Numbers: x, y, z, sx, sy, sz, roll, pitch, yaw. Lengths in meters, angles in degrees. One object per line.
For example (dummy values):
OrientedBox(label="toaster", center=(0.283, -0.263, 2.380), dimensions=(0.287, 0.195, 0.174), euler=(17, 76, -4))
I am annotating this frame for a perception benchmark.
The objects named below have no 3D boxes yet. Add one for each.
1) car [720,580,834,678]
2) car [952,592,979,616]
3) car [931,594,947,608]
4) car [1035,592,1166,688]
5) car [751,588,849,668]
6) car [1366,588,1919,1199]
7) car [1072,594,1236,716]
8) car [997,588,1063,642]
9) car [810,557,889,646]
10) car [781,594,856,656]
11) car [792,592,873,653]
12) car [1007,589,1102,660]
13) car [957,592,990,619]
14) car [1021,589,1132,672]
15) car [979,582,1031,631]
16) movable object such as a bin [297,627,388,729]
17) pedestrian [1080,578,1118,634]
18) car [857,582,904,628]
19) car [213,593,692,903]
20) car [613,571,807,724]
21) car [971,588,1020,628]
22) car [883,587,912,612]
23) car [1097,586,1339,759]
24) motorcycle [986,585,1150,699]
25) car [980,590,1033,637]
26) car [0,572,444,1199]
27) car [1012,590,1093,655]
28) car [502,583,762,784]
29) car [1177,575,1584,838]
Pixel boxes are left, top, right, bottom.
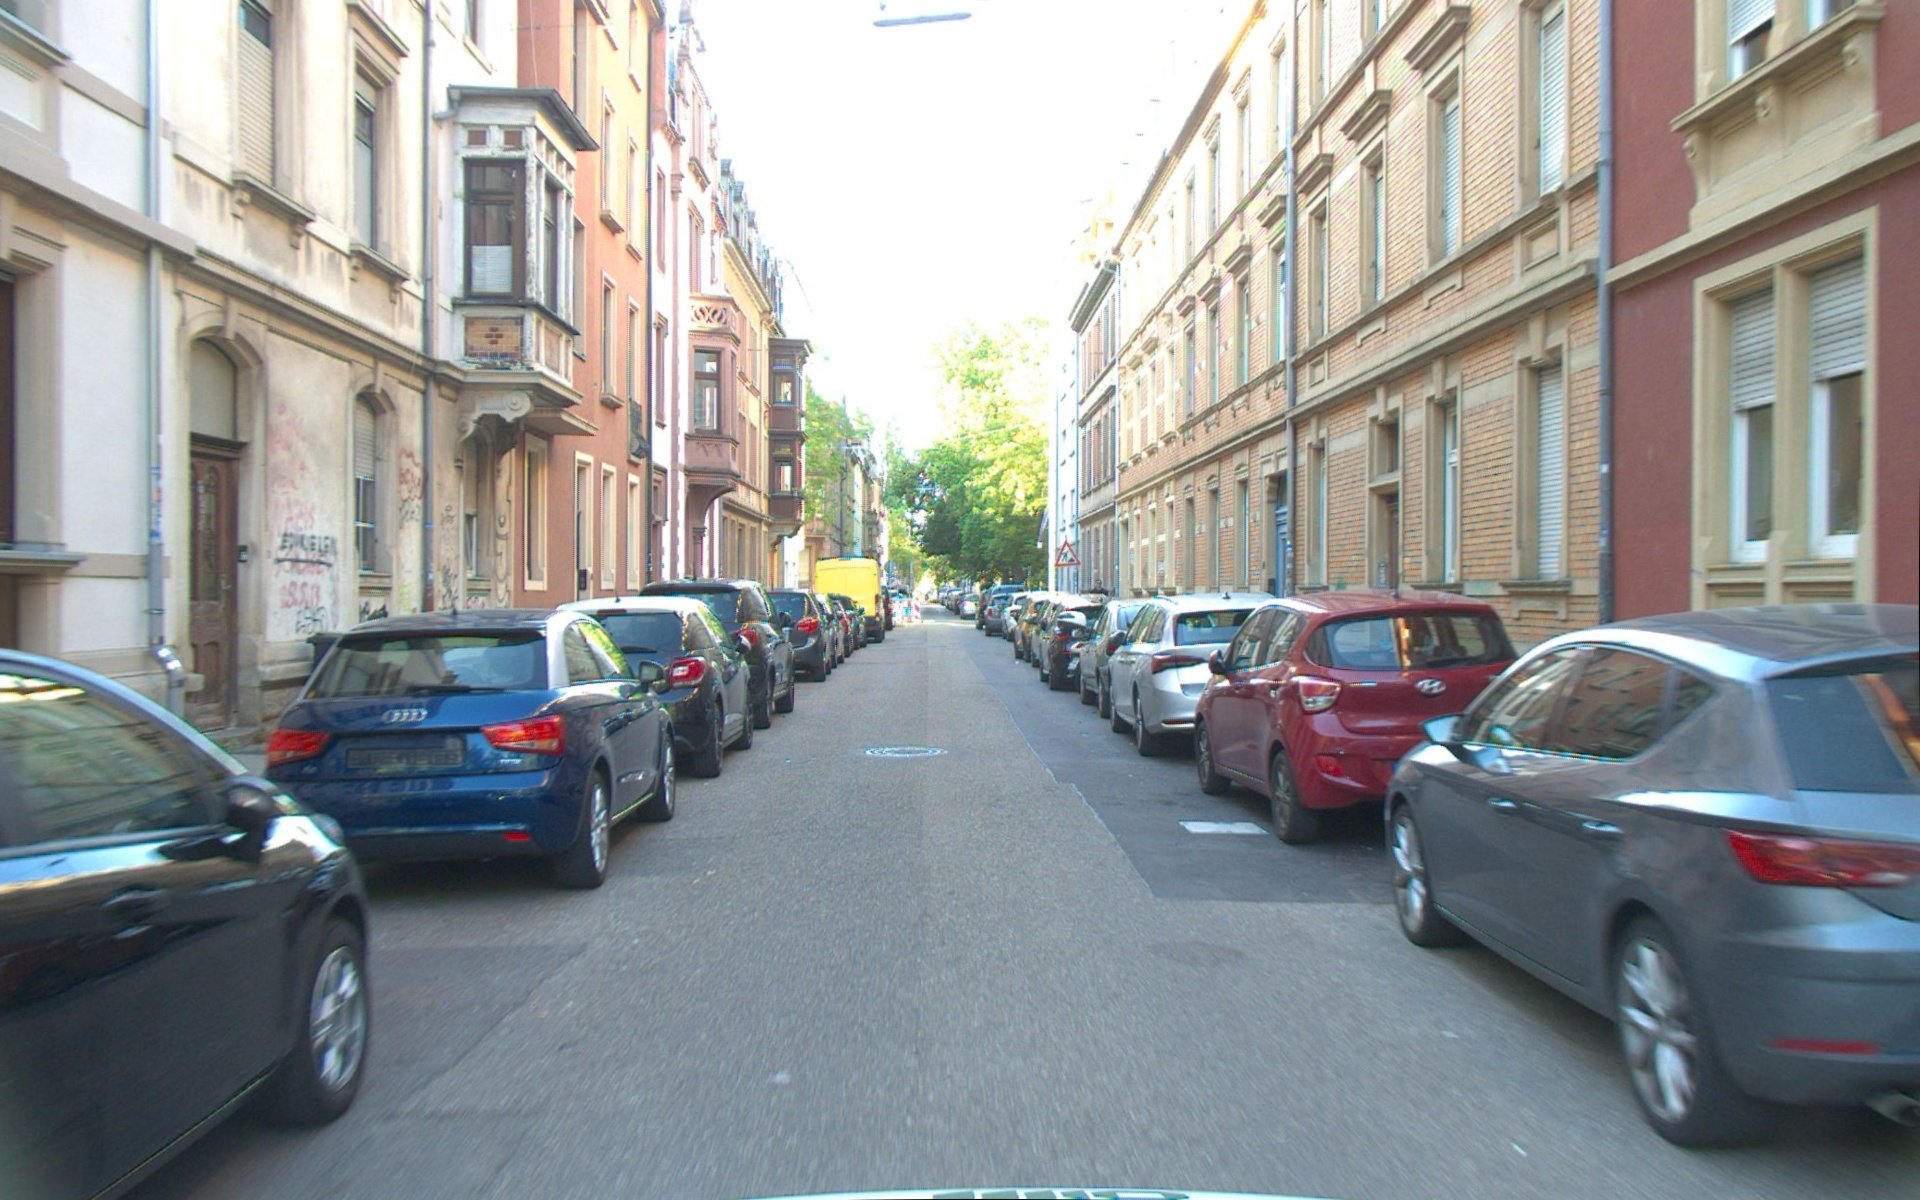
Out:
OrientedBox(label="car", center=(-3.192, 0.472, 29.556), dimensions=(1.745, 1.634, 4.067), euler=(0, 0, -3))
OrientedBox(label="car", center=(0.371, 0.300, 120.587), dimensions=(1.856, 1.654, 3.998), euler=(0, 0, -2))
OrientedBox(label="car", center=(-2.702, 0.143, 208.501), dimensions=(1.953, 1.758, 3.999), euler=(0, 0, -2))
OrientedBox(label="car", center=(2.221, 0.594, 27.215), dimensions=(1.741, 1.421, 4.317), euler=(0, 1, -1))
OrientedBox(label="car", center=(-3.282, 0.536, 34.467), dimensions=(1.660, 1.500, 3.918), euler=(-3, 0, -1))
OrientedBox(label="car", center=(2.791, 0.731, 5.910), dimensions=(1.642, 1.529, 4.068), euler=(0, 1, -1))
OrientedBox(label="car", center=(2.451, 0.649, 21.753), dimensions=(1.657, 1.430, 3.992), euler=(0, 0, -1))
OrientedBox(label="car", center=(2.230, 0.446, 53.915), dimensions=(1.719, 1.544, 4.441), euler=(-4, 1, -2))
OrientedBox(label="car", center=(-3.392, 0.036, 51.668), dimensions=(2.131, 2.551, 5.876), euler=(-2, 0, -2))
OrientedBox(label="car", center=(-3.417, 0.577, 40.449), dimensions=(1.585, 1.349, 3.611), euler=(-3, 0, -2))
OrientedBox(label="car", center=(-3.425, 0.575, 44.993), dimensions=(1.683, 1.437, 3.898), euler=(-5, 0, 2))
OrientedBox(label="car", center=(2.128, 0.535, 38.298), dimensions=(1.719, 1.471, 4.067), euler=(-3, 0, -3))
OrientedBox(label="car", center=(0.797, 0.298, 99.312), dimensions=(1.690, 1.549, 3.997), euler=(0, 0, -4))
OrientedBox(label="car", center=(2.290, 0.569, 33.557), dimensions=(1.691, 1.442, 4.092), euler=(-4, 1, -3))
OrientedBox(label="car", center=(1.737, 0.224, 65.229), dimensions=(1.718, 1.817, 4.722), euler=(-3, 1, -1))
OrientedBox(label="movable object such as a bin", center=(-5.902, 0.735, 15.827), dimensions=(0.600, 0.936, 0.733), euler=(0, 0, -2))
OrientedBox(label="pedestrian", center=(4.166, 0.180, 49.509), dimensions=(0.650, 1.659, 0.866), euler=(-1, -1, -43))
OrientedBox(label="car", center=(-3.215, 0.199, 66.390), dimensions=(1.783, 1.797, 4.332), euler=(0, 0, -4))
OrientedBox(label="car", center=(-2.656, 0.678, 9.559), dimensions=(1.745, 1.428, 3.741), euler=(0, 0, -3))
OrientedBox(label="car", center=(-2.878, 0.500, 19.849), dimensions=(1.725, 1.645, 4.188), euler=(0, 0, -1))
OrientedBox(label="car", center=(1.480, 0.335, 69.894), dimensions=(1.862, 1.668, 4.389), euler=(0, 0, -2))
OrientedBox(label="car", center=(-5.388, -0.057, 143.330), dimensions=(2.262, 2.151, 5.169), euler=(0, 0, 0))
OrientedBox(label="car", center=(2.441, 0.619, 16.687), dimensions=(1.726, 1.510, 4.401), euler=(0, 0, -1))
OrientedBox(label="motorcycle", center=(1.579, 0.611, 24.094), dimensions=(2.193, 1.563, 0.882), euler=(2, 0, -28))
OrientedBox(label="car", center=(1.654, 0.460, 59.790), dimensions=(1.718, 1.478, 4.288), euler=(-4, 1, 0))
OrientedBox(label="car", center=(-2.521, 0.700, 3.435), dimensions=(1.745, 1.509, 3.742), euler=(0, 0, -1))
OrientedBox(label="car", center=(2.367, 0.546, 43.278), dimensions=(1.686, 1.506, 4.081), euler=(-4, 0, -2))
OrientedBox(label="car", center=(-2.754, 0.625, 14.666), dimensions=(1.610, 1.481, 3.837), euler=(-2, 0, -2))
OrientedBox(label="car", center=(2.697, 0.593, 11.554), dimensions=(1.626, 1.505, 4.022), euler=(0, 0, -3))
